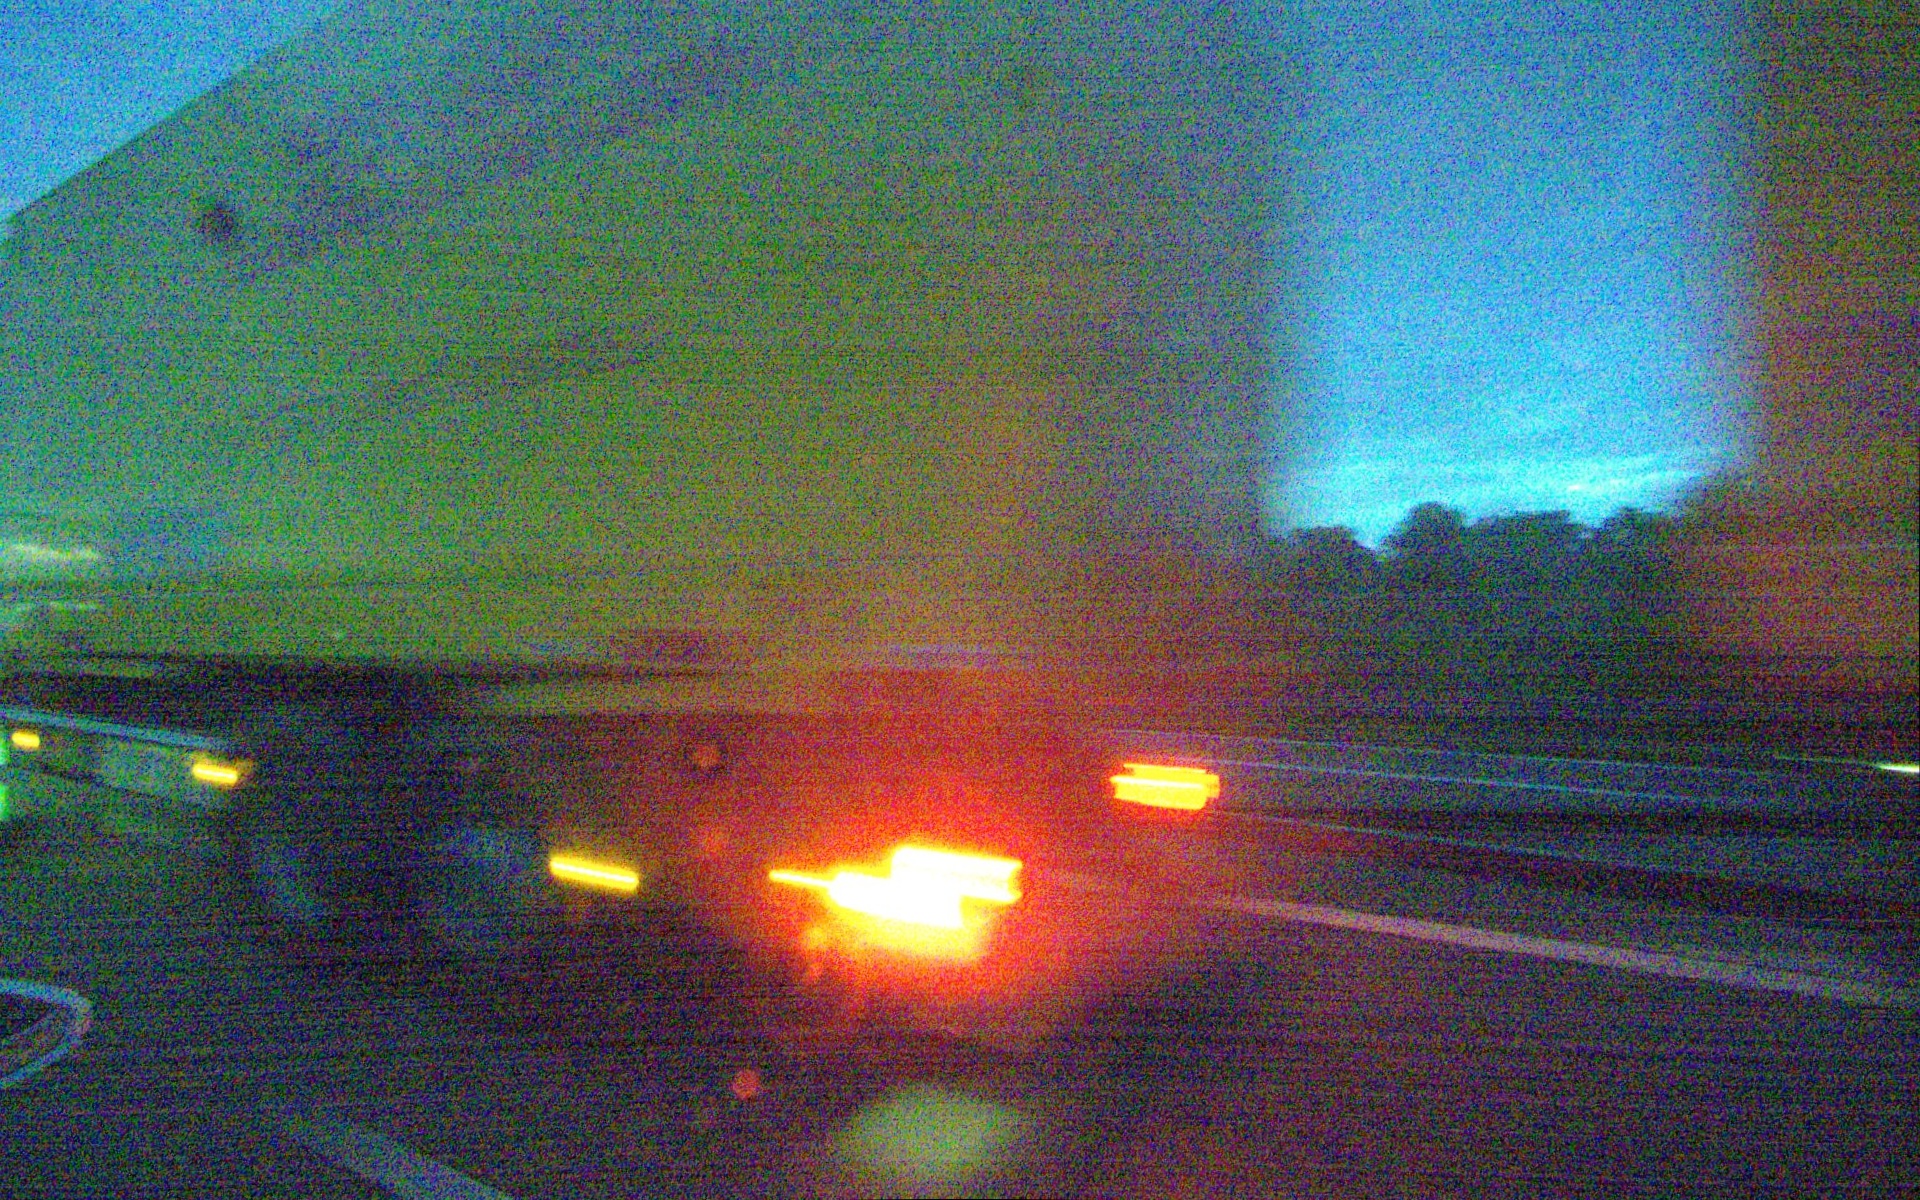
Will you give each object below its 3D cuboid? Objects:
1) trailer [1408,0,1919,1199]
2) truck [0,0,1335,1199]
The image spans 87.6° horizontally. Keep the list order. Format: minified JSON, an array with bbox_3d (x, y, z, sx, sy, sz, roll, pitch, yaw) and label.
[{"bbox_3d":[5.201,-0.578,0.647,8.705,4.124,2.717,-1,-1,33],"label":"trailer"},{"bbox_3d":[-3.399,-0.431,6.135,10.370,4.124,2.685,-1,-1,33],"label":"truck"}]
